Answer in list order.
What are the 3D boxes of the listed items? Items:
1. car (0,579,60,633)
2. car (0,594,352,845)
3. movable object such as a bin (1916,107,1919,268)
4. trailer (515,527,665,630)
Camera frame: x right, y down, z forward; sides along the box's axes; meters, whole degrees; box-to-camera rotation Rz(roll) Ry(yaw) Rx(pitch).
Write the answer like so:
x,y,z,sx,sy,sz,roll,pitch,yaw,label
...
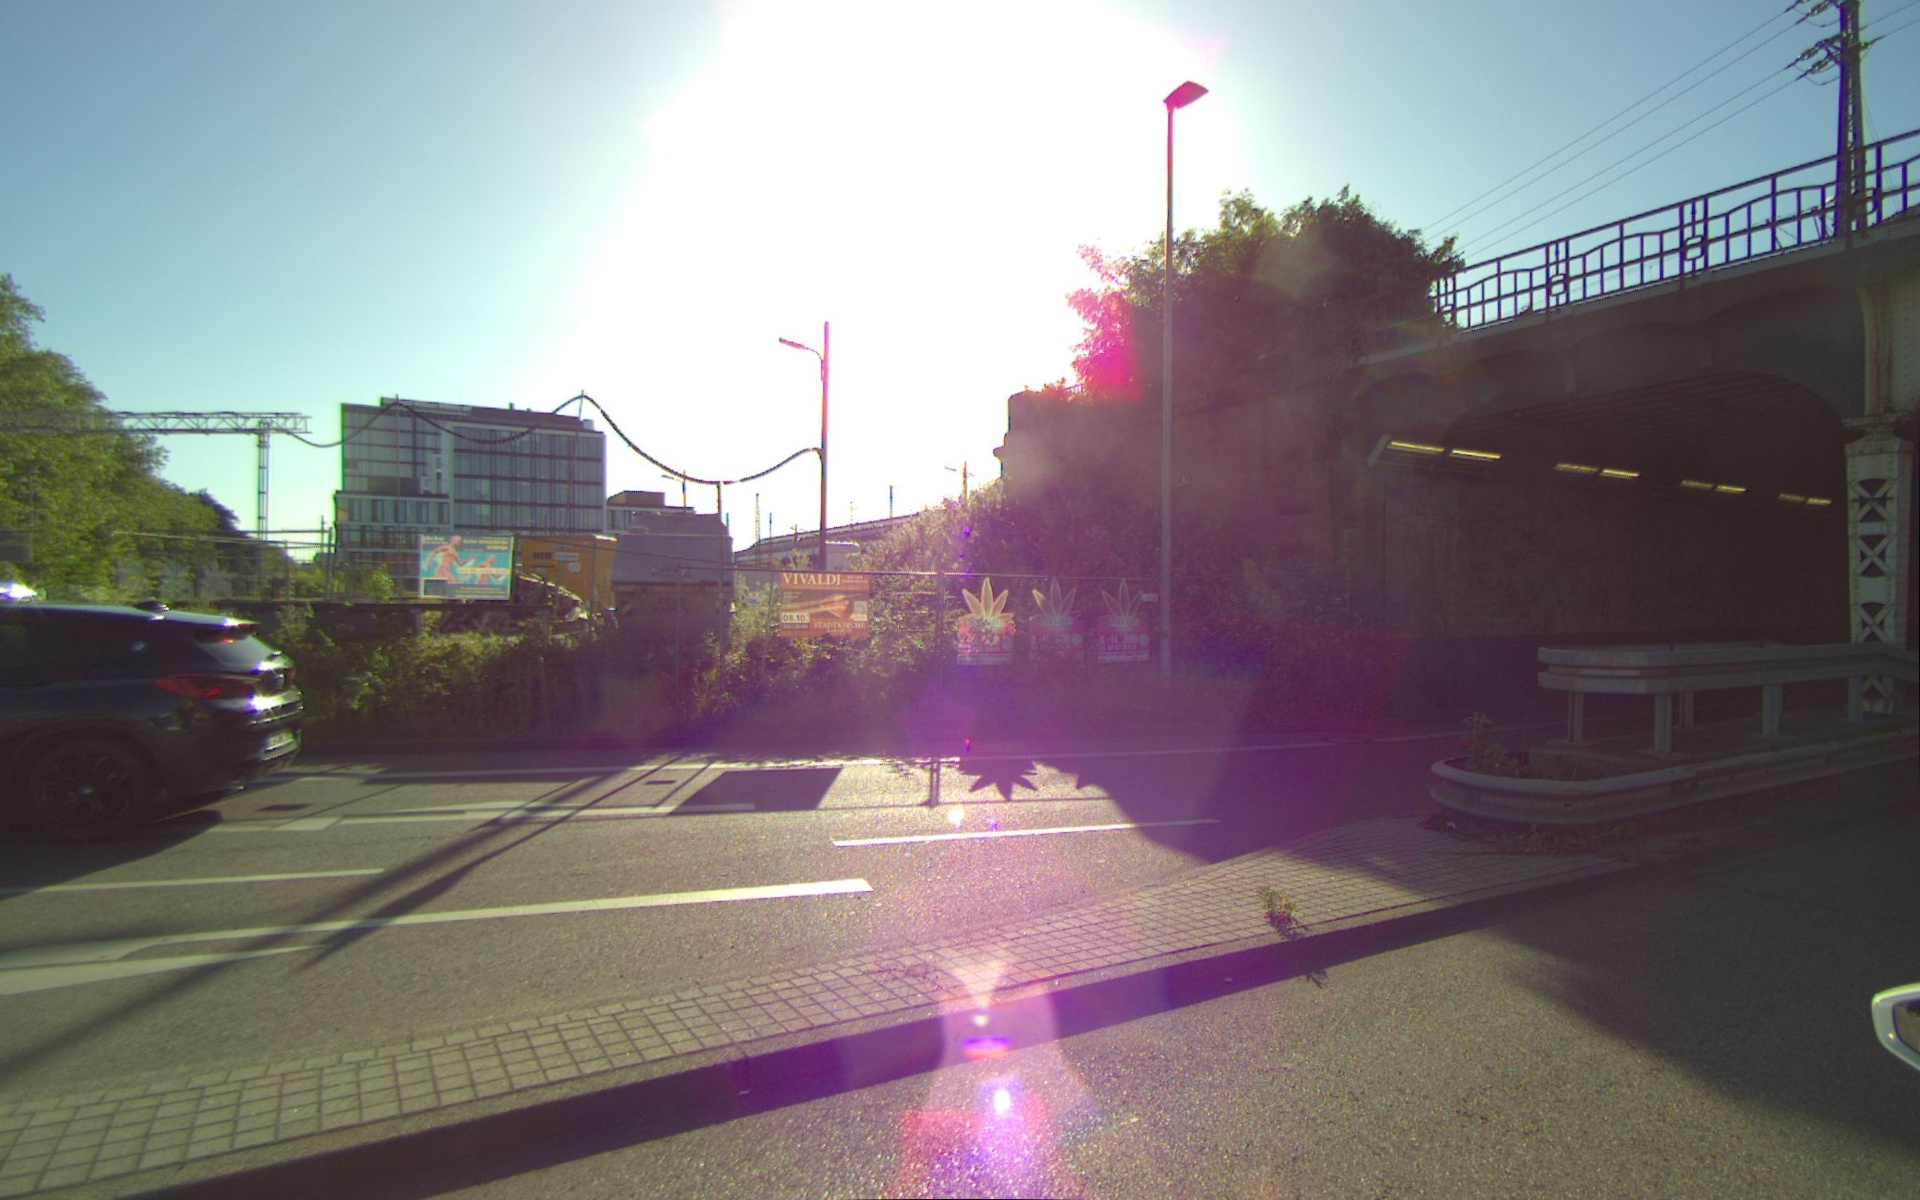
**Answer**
x,y,z,sx,sy,sz,roll,pitch,yaw,label
-27.504,0.154,27.937,1.721,1.496,3.995,1,0,-7,car
-6.892,0.727,6.839,4.317,1.538,1.949,1,-1,-18,car
14.716,-5.305,13.127,4.775,2.256,1.984,2,0,-31,movable object such as a bin
-13.214,-0.699,36.576,2.946,3.335,6.667,1,0,0,trailer
